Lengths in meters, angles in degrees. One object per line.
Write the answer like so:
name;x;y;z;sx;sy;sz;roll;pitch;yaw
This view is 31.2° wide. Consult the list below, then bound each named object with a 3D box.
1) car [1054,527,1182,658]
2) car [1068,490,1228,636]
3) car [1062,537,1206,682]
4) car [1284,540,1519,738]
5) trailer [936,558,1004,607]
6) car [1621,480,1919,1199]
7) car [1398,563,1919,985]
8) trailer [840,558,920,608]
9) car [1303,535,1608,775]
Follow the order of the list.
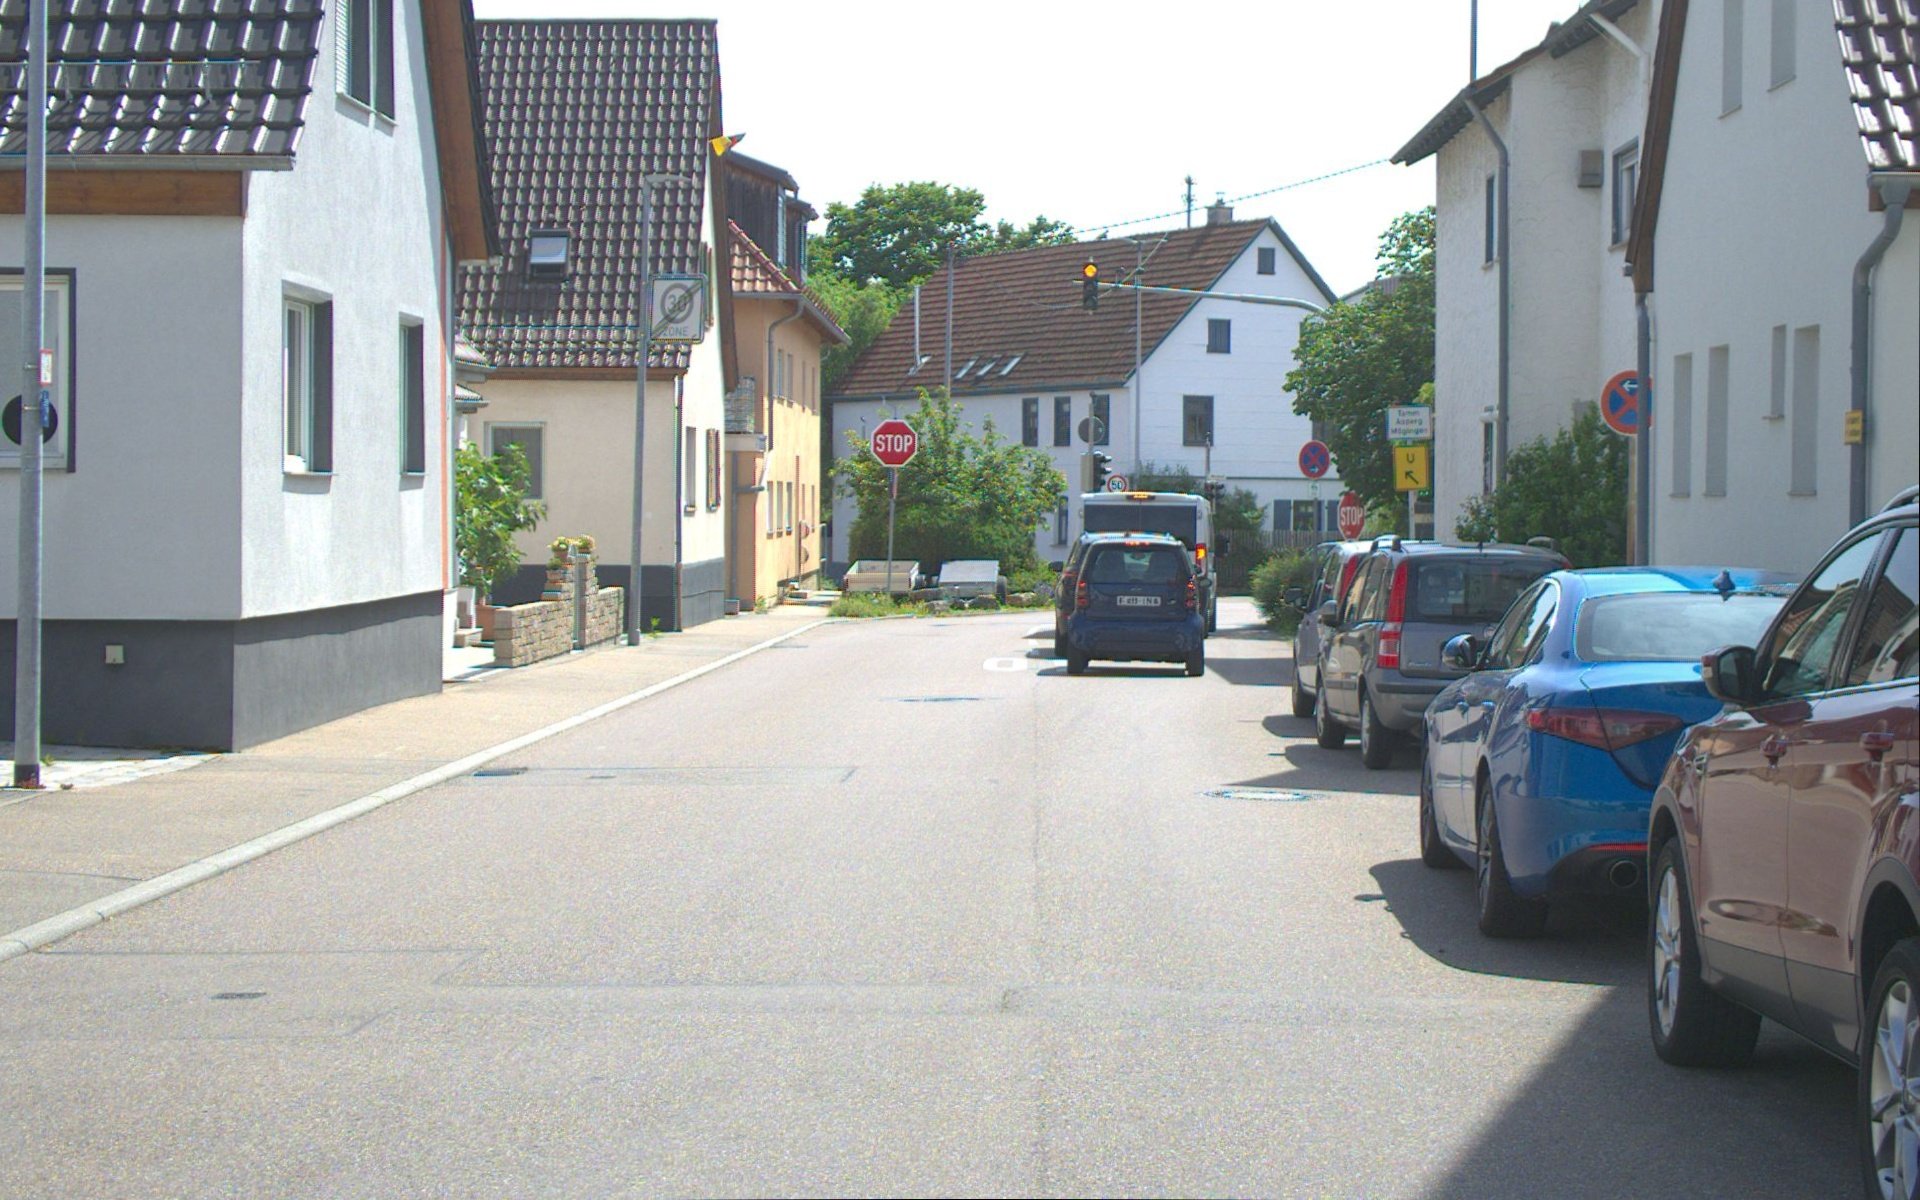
car;2.063;-0.120;44.300;1.516;1.619;3.184;0;1;5
car;2.984;-0.594;53.530;2.129;2.151;4.735;1;1;7
car;2.032;0.079;39.541;1.516;1.561;3.184;1;1;5
car;3.590;0.273;28.424;1.498;1.508;3.362;1;1;0
trailer;0.206;-0.349;69.116;1.311;0.967;0.933;1;1;3
car;2.907;0.599;8.386;1.875;1.694;4.183;1;1;2
car;2.913;0.586;14.349;1.763;1.419;4.591;1;1;3
trailer;-1.614;-0.347;69.335;1.502;0.924;1.012;3;1;3
car;3.411;0.330;24.218;1.567;1.540;3.450;1;1;-1
